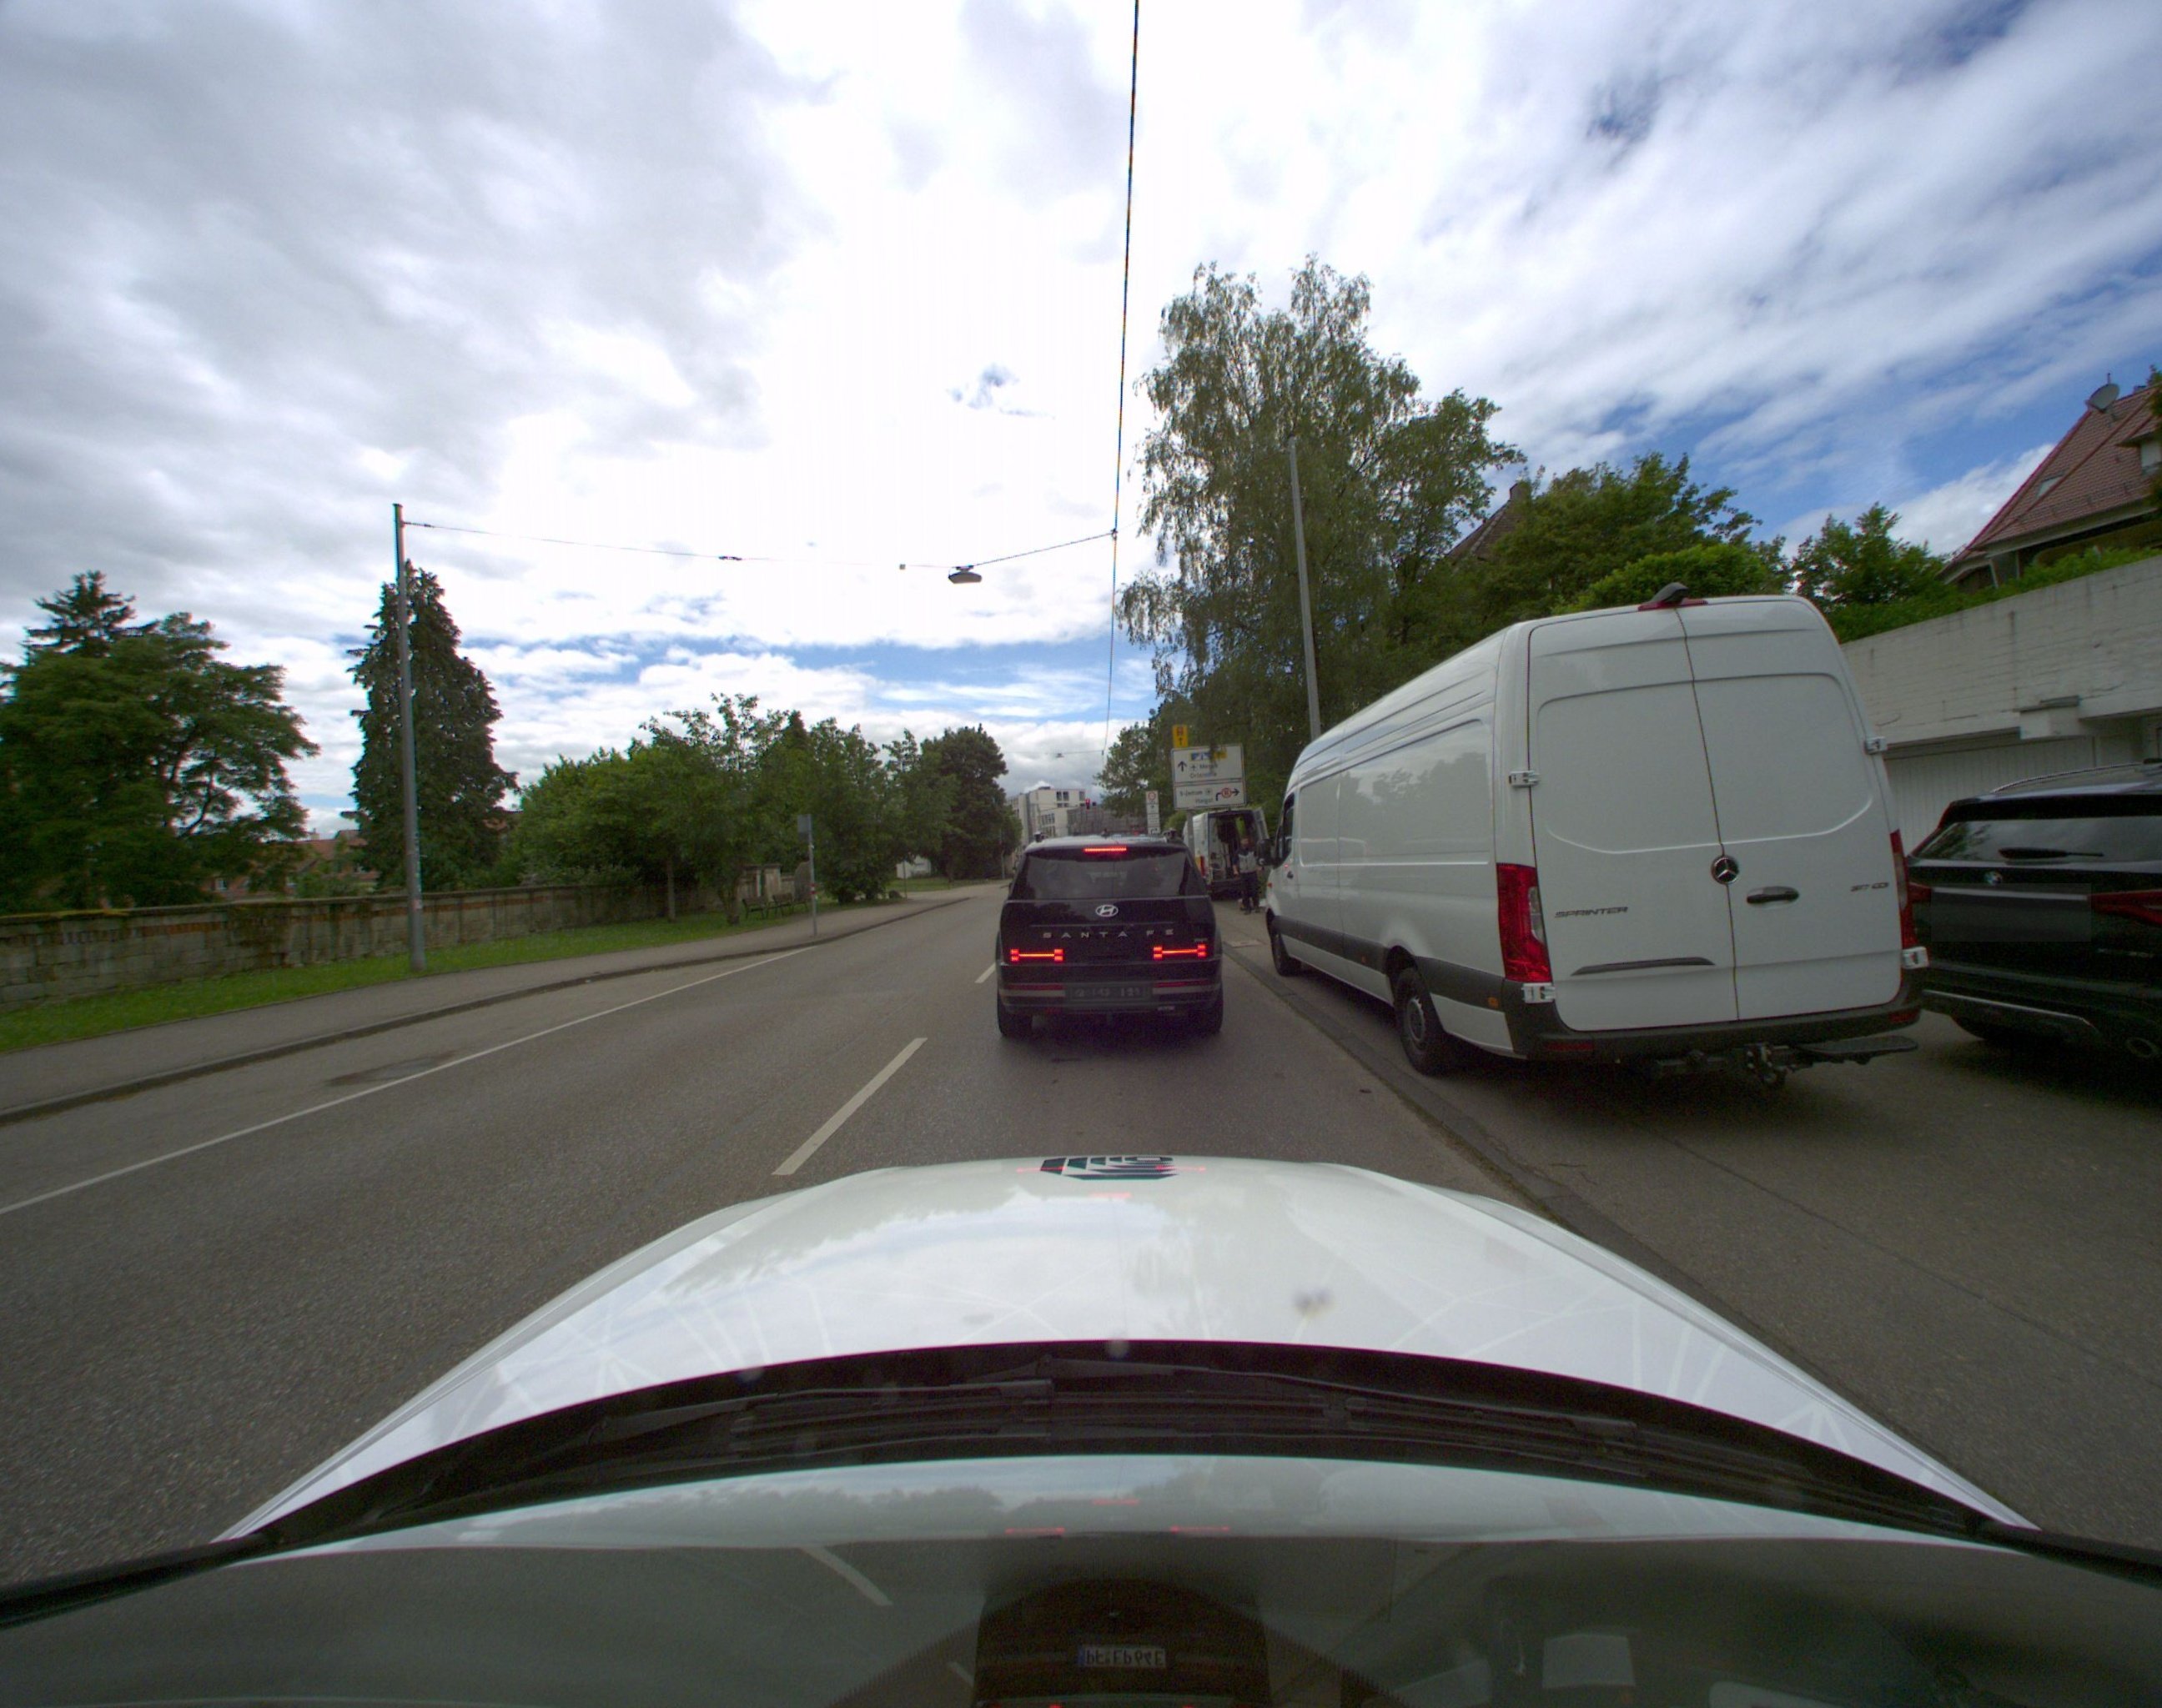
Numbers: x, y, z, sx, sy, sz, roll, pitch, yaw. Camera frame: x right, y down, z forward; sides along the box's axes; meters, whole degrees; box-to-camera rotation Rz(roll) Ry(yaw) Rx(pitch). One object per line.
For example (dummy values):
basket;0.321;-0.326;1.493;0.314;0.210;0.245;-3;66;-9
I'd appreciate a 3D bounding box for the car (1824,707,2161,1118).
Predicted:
car;6.828;0.140;4.113;4.398;1.750;1.739;-3;0;3

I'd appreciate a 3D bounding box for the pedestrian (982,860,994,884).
pedestrian;-6.968;1.331;60.939;0.737;1.715;0.791;-3;0;-5

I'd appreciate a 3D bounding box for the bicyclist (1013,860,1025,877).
bicyclist;-6.002;1.393;78.607;0.820;1.691;0.723;-1;-1;33

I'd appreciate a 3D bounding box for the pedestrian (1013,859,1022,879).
pedestrian;-5.884;1.374;74.911;0.737;1.715;0.791;-3;0;-5

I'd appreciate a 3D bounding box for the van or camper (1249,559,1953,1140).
van or camper;3.099;-0.013;7.083;1.986;2.620;6.543;-3;0;2

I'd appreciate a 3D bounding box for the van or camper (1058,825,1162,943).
van or camper;0.581;0.539;16.496;1.748;2.013;4.002;-3;0;2

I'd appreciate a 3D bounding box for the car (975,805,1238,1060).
car;0.245;0.583;7.976;1.883;1.819;4.002;-2;0;2

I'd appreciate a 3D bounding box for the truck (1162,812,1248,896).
truck;4.242;0.036;28.739;1.937;2.561;5.213;-5;-1;-1

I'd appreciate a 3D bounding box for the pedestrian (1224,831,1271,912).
pedestrian;3.811;0.396;18.712;0.756;1.797;0.871;-3;0;-4
